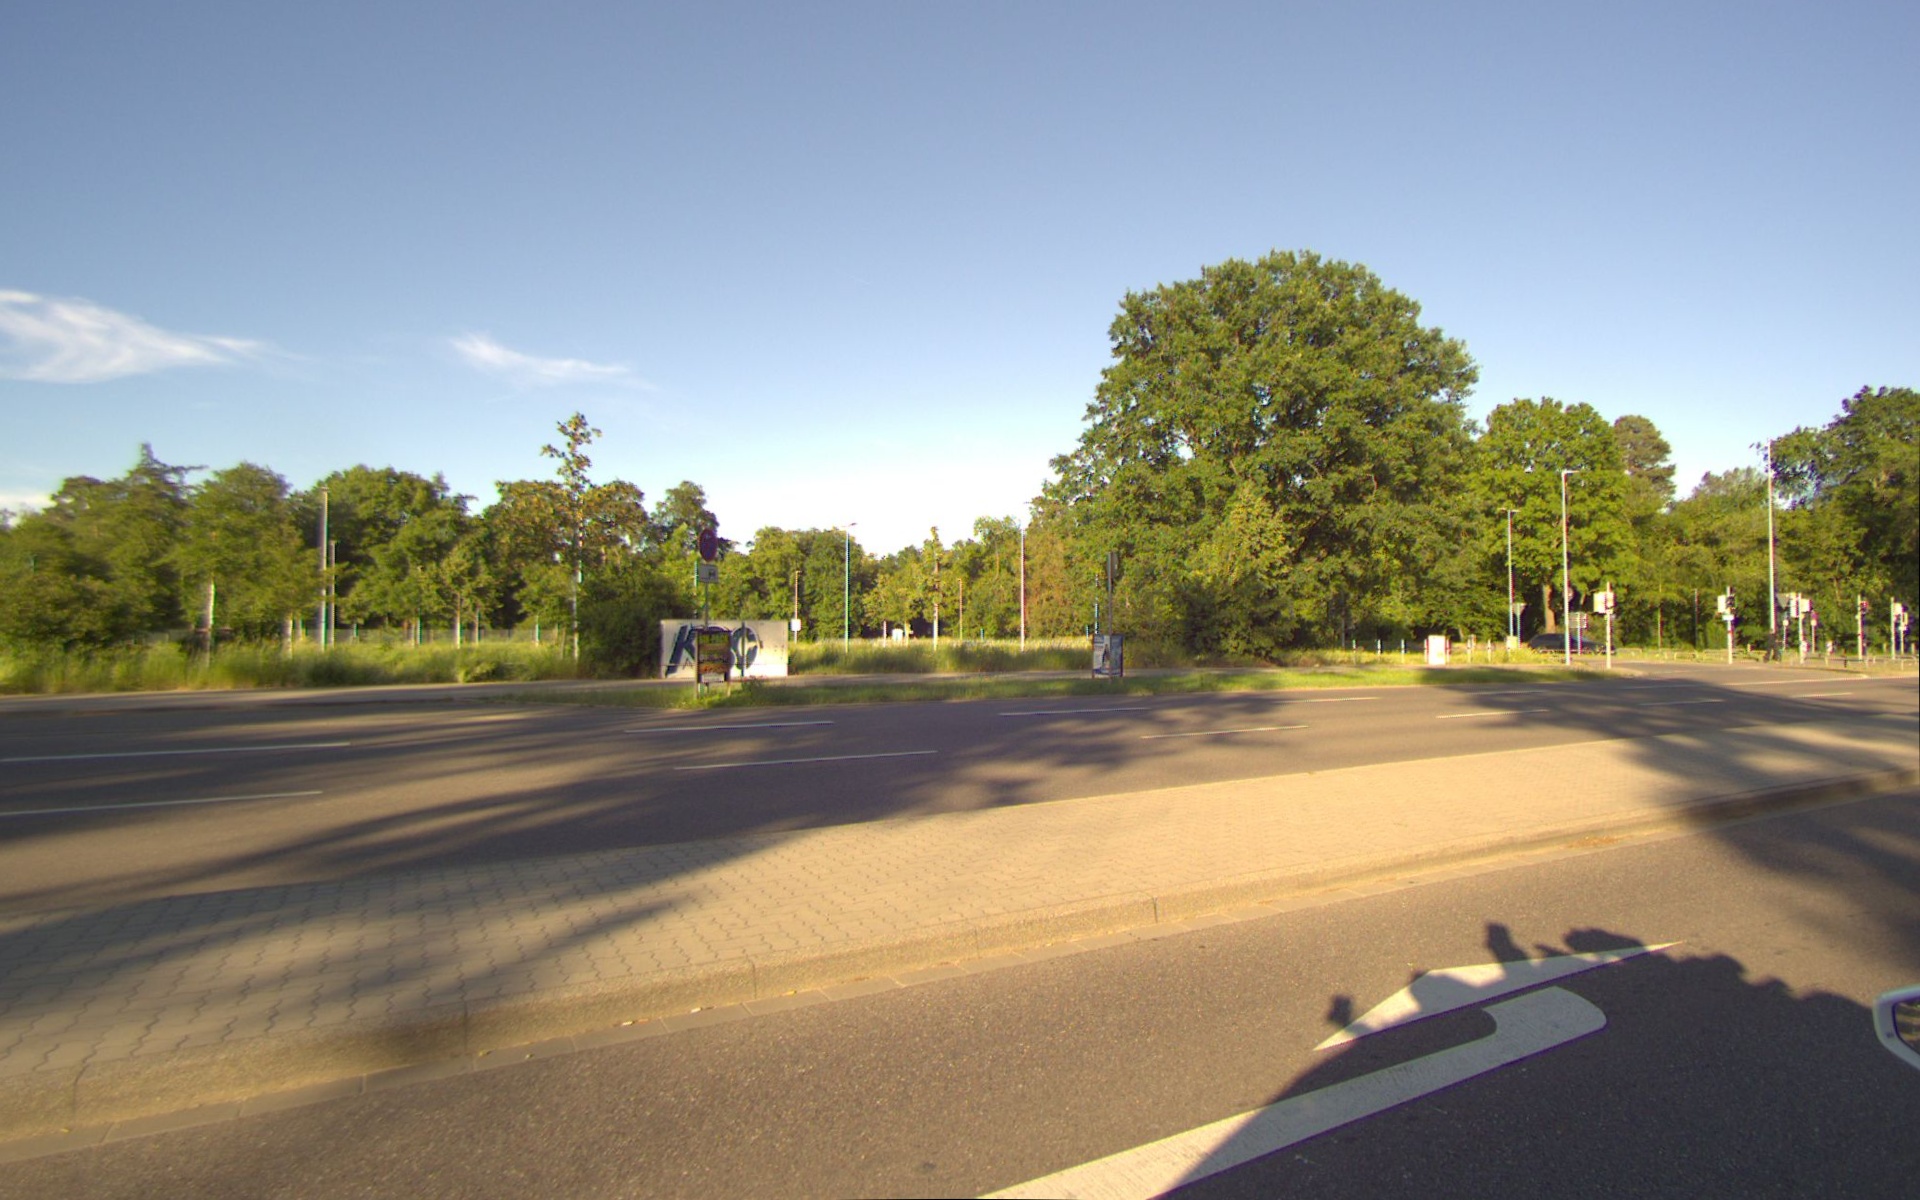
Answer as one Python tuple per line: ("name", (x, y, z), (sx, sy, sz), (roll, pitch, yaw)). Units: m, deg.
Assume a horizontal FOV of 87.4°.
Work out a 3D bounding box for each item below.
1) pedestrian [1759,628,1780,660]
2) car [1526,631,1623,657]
("pedestrian", (40.386, 2.176, 50.135), (0.636, 1.580, 0.539), (-1, -2, 19))
("car", (37.927, 2.726, 62.106), (1.977, 1.517, 4.751), (1, -3, -30))
